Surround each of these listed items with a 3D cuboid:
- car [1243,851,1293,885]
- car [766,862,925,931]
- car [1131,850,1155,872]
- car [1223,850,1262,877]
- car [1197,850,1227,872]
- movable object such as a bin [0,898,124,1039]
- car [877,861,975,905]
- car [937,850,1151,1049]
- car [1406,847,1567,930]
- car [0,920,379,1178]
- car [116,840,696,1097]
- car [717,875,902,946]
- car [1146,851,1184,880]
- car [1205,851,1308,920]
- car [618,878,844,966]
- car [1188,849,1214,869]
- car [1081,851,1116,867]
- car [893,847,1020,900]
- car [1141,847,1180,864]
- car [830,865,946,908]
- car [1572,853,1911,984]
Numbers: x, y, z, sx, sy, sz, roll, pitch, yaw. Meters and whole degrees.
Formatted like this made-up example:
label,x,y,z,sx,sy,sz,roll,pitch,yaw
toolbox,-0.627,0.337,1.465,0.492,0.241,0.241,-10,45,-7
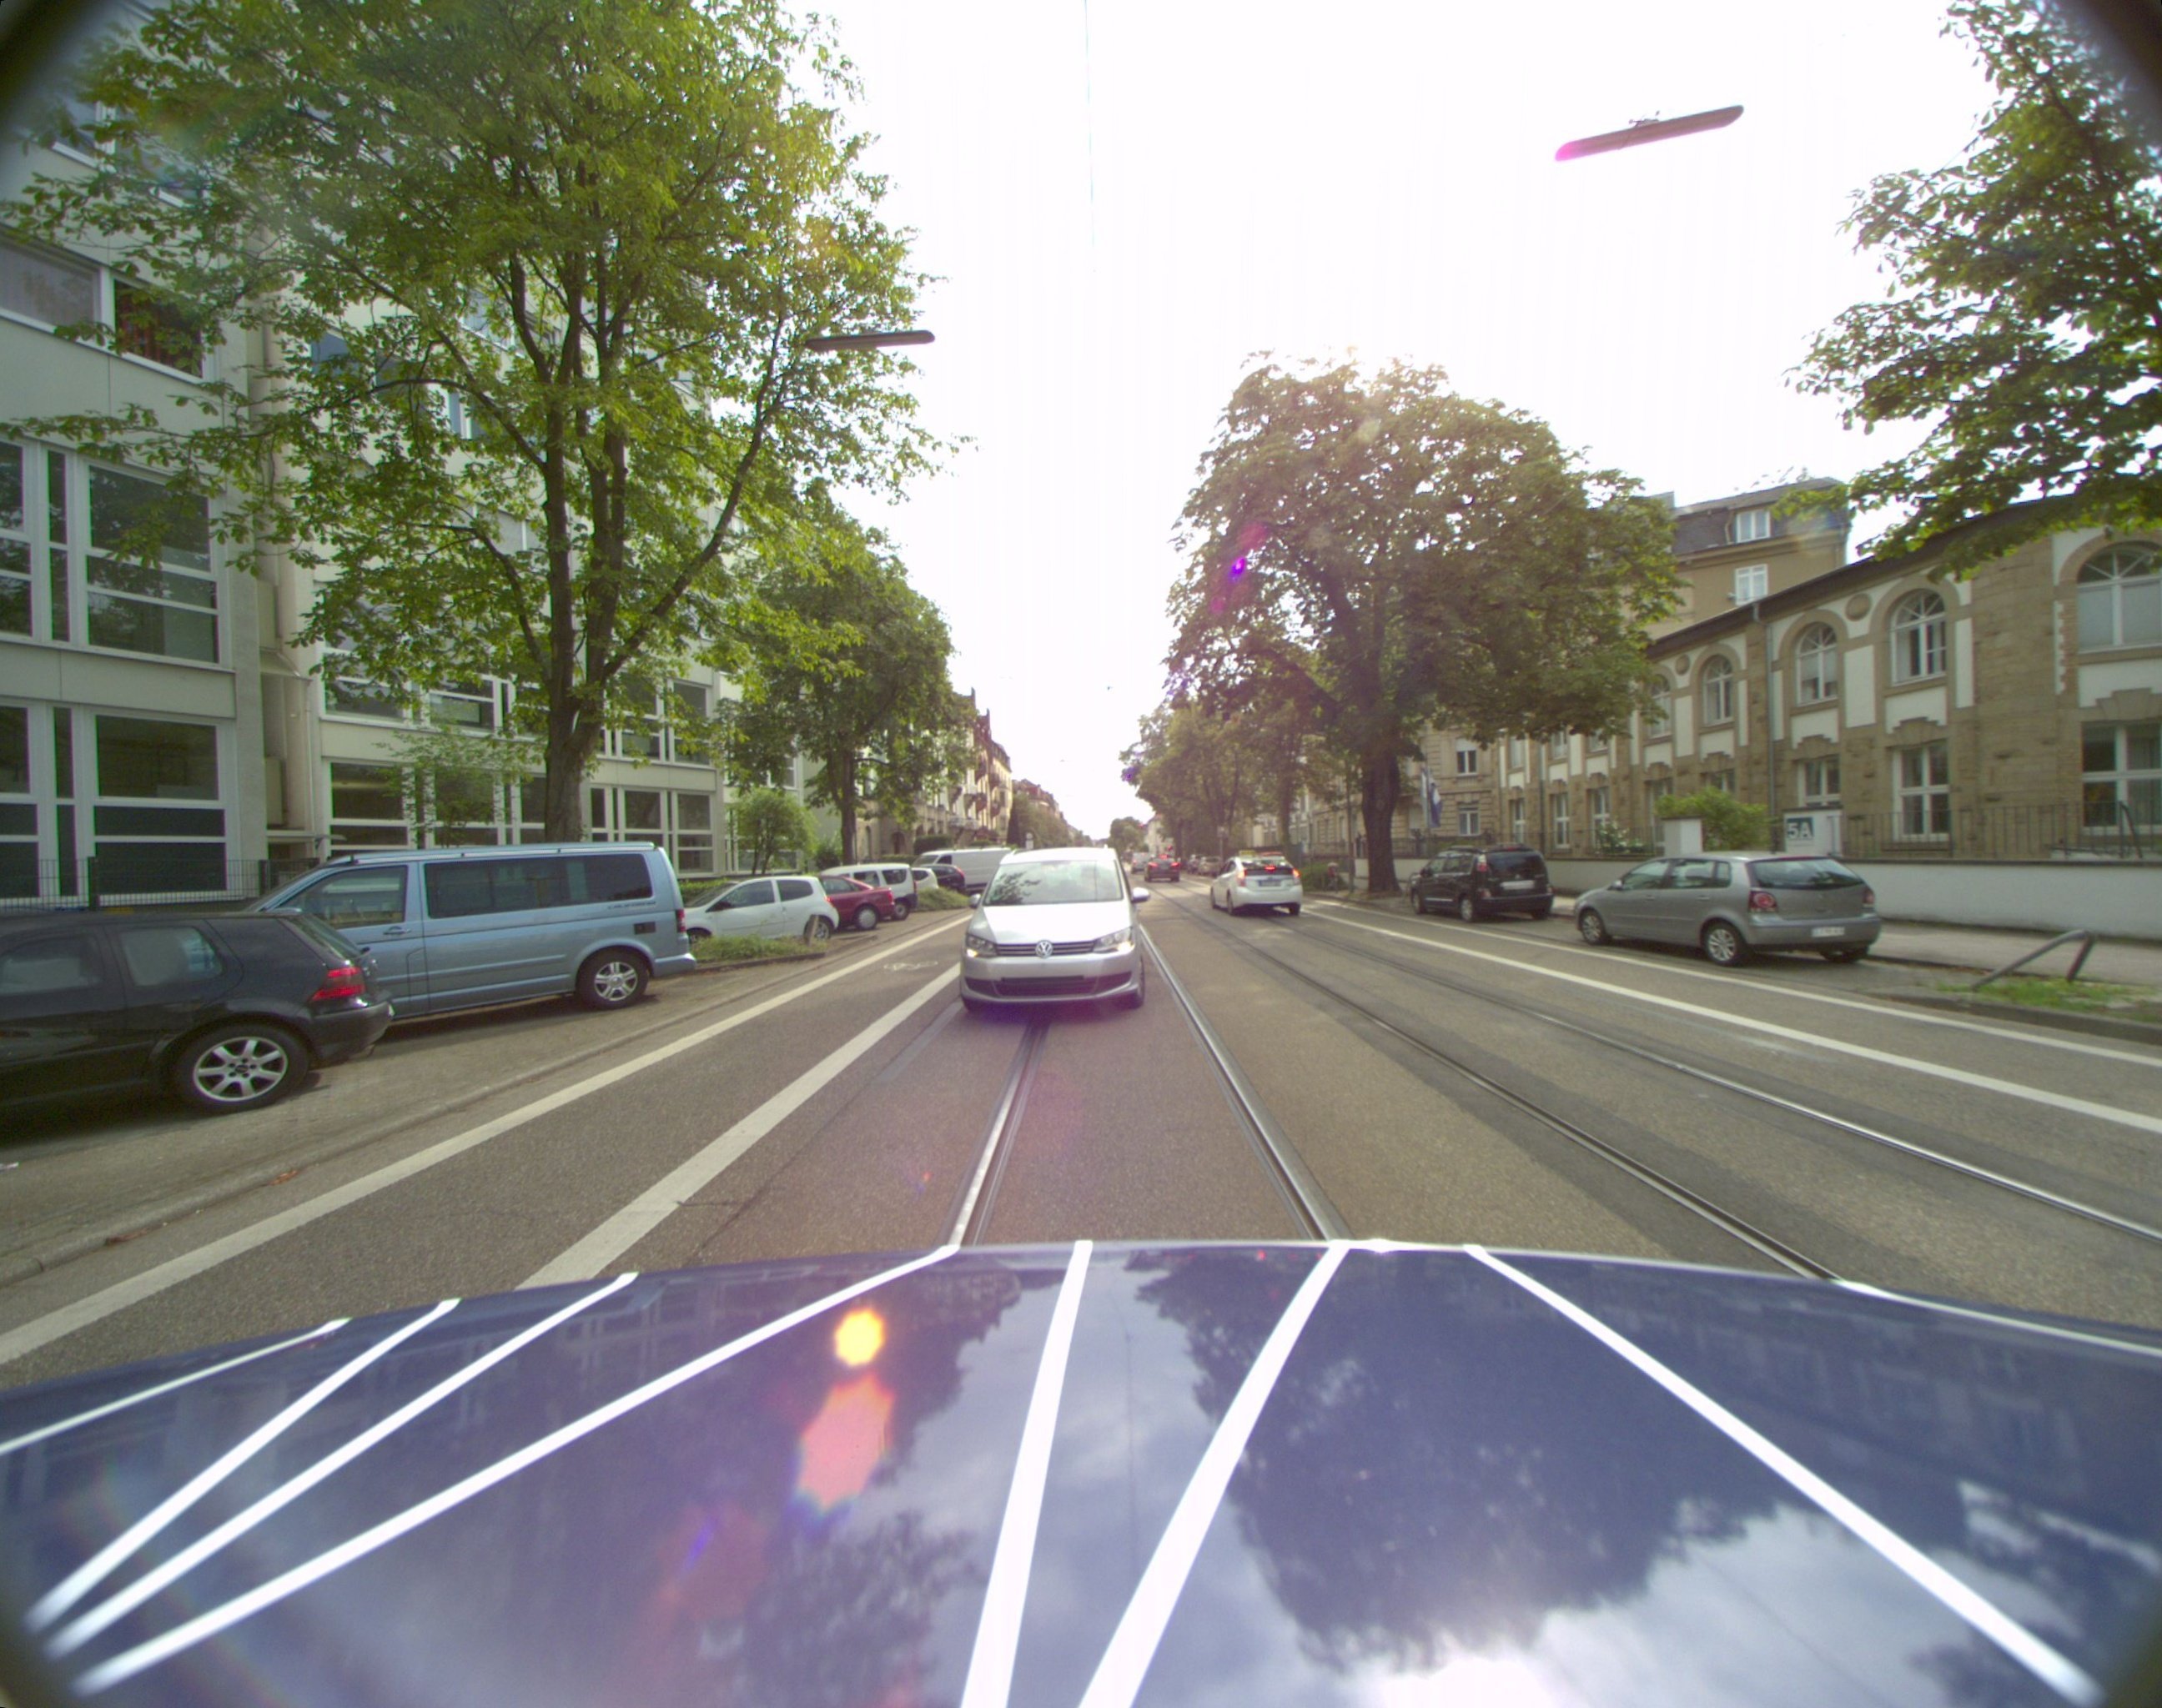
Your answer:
label,x,y,z,sx,sy,sz,roll,pitch,yaw
car,9.756,0.696,39.941,1.659,1.624,3.906,-2,0,1
car,-6.544,1.115,21.308,3.777,1.609,1.809,-2,1,-40
car,5.489,0.576,67.682,1.799,1.813,4.678,-2,0,1
car,10.310,0.592,48.700,1.659,1.592,3.906,-2,0,1
car,10.145,0.524,59.242,1.659,1.624,3.906,-2,0,1
movable object such as a bin,-12.271,1.282,8.491,1.334,1.450,1.400,-2,0,5
car,-6.479,1.175,31.809,3.649,1.580,1.764,-2,1,-25
car,-0.292,0.843,8.988,1.816,1.691,4.617,-2,0,1
car,8.983,0.692,17.208,1.659,1.624,3.725,-2,0,1
car,-7.406,1.320,5.006,3.980,1.379,1.810,-3,-1,-44
car,-6.989,0.936,8.453,4.354,2.052,1.994,-2,0,-45
car,-6.507,1.285,18.391,3.777,1.331,1.809,-2,1,-40
car,5.025,0.677,45.943,1.852,1.603,4.334,-2,0,1
car,4.529,0.755,20.273,1.736,1.603,4.334,-1,0,0
car,-6.851,1.245,15.092,3.652,1.322,1.763,-3,1,-44
car,10.456,0.431,66.552,1.659,1.624,3.906,-2,0,1
car,2.880,0.837,123.707,5.254,2.333,2.001,-2,0,11
car,-5.721,0.828,35.488,5.449,2.163,2.142,-2,1,-40
car,13.085,0.257,124.821,5.935,2.585,1.998,-2,0,-12
car,-6.973,1.144,27.676,3.652,1.322,1.763,-3,1,-44
car,8.835,0.750,10.619,1.632,1.456,3.574,-2,0,1
